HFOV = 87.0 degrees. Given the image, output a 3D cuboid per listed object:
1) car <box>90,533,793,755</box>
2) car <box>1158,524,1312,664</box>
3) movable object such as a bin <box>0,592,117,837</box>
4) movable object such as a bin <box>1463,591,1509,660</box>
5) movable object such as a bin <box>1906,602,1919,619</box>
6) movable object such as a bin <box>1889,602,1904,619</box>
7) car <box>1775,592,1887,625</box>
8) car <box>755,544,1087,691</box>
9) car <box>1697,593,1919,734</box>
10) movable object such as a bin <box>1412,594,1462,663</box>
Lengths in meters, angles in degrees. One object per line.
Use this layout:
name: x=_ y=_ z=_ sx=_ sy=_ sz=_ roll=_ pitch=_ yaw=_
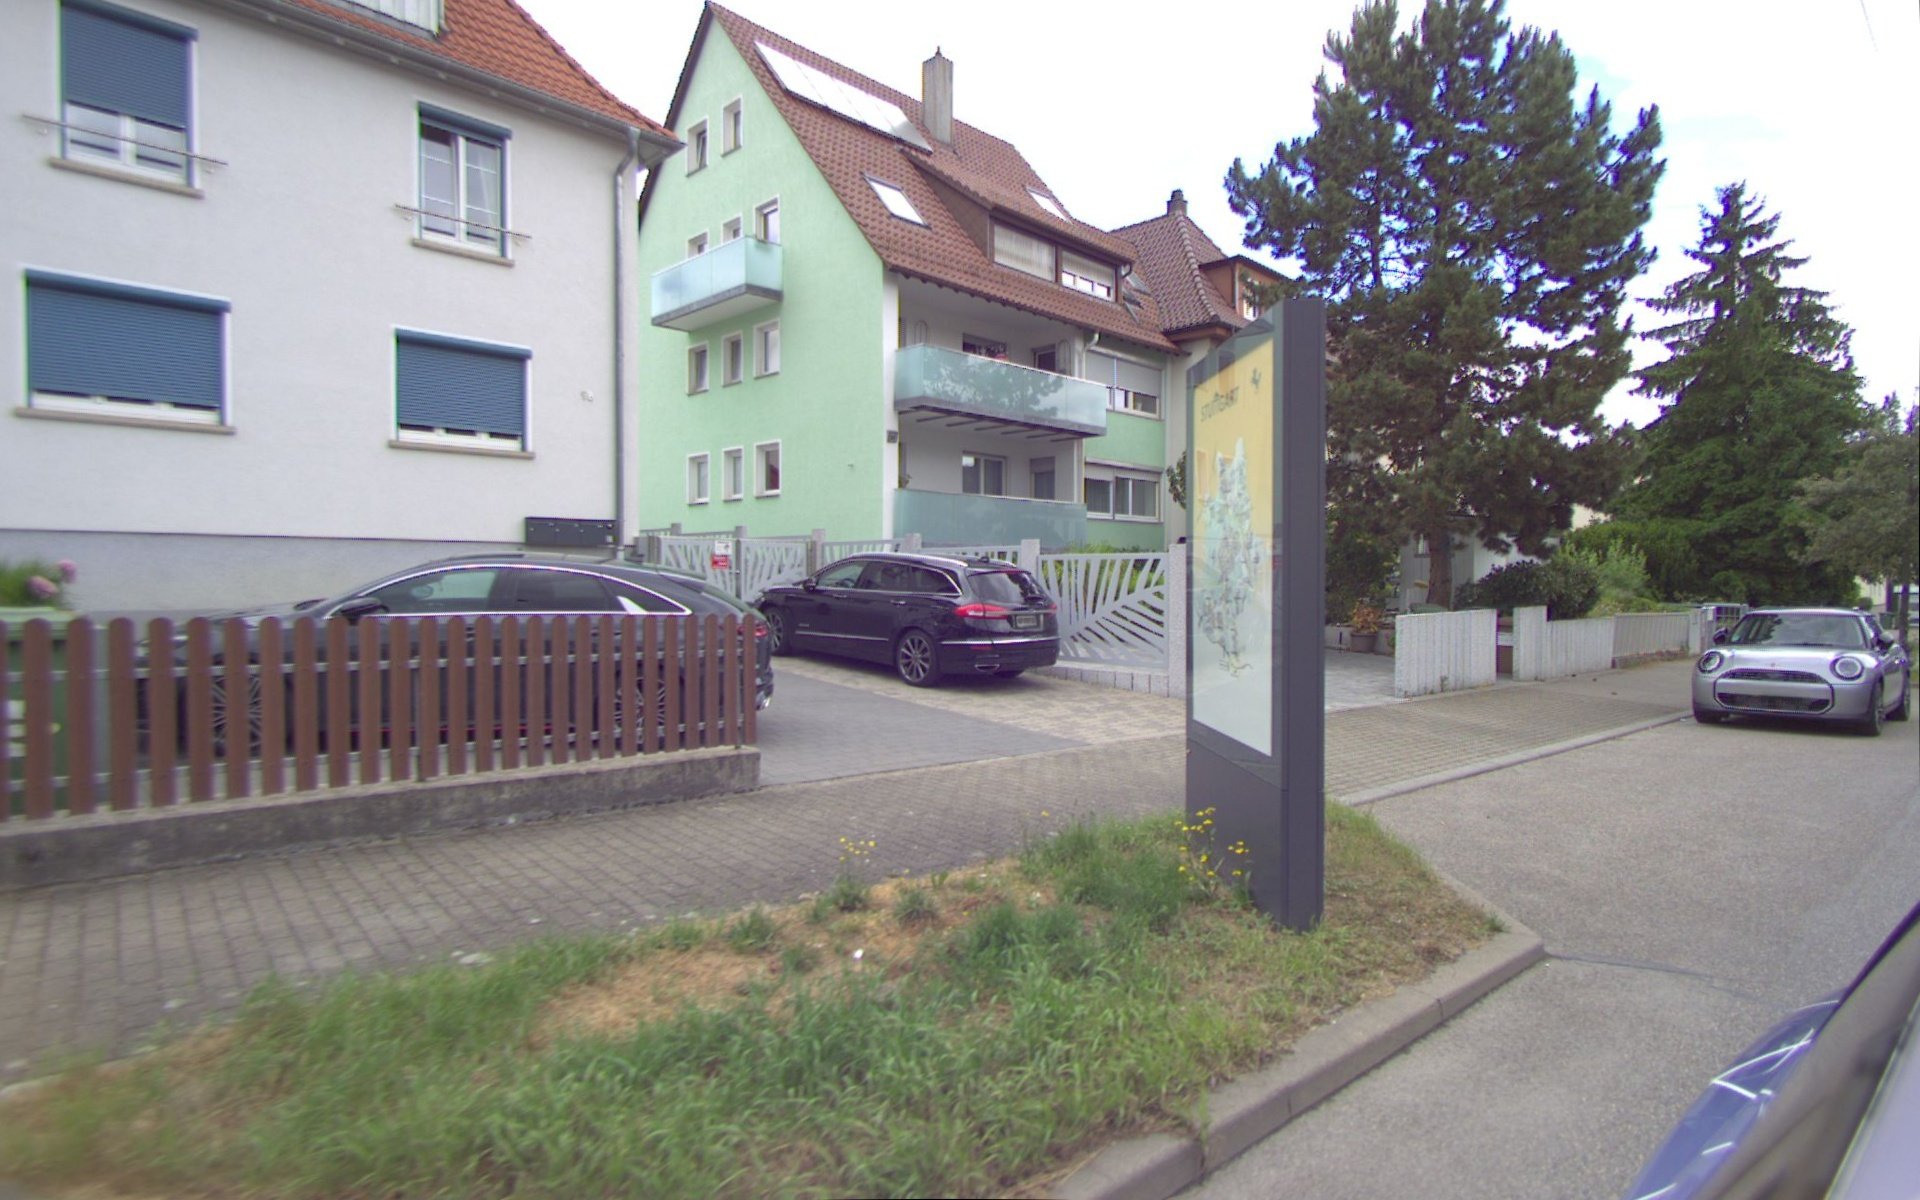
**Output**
car: x=-3.659 y=0.271 z=7.906 sx=4.385 sy=1.398 sz=1.829 roll=1 pitch=2 yaw=-18
car: x=4.997 y=-0.238 z=17.886 sx=1.957 sy=2.037 sz=4.691 roll=4 pitch=4 yaw=22
movable object such as a bin: x=-4.642 y=0.528 z=5.025 sx=0.679 sy=1.117 sz=0.777 roll=0 pitch=1 yaw=-42
movable object such as a bin: x=8.912 y=0.415 z=17.148 sx=0.589 sy=1.069 sz=0.609 roll=6 pitch=6 yaw=28
movable object such as a bin: x=58.152 y=0.633 z=61.730 sx=0.635 sy=1.059 sz=0.577 roll=-1 pitch=0 yaw=40
movable object such as a bin: x=57.591 y=0.638 z=62.210 sx=0.635 sy=1.059 sz=0.577 roll=1 pitch=1 yaw=40
car: x=47.561 y=0.426 z=55.338 sx=1.833 sy=1.506 sz=4.427 roll=-2 pitch=4 yaw=-42
car: x=-0.630 y=0.097 z=12.883 sx=4.259 sy=1.524 sz=1.670 roll=4 pitch=3 yaw=42
car: x=10.738 y=0.657 z=12.620 sx=3.931 sy=1.399 sz=1.653 roll=-2 pitch=1 yaw=-41
movable object such as a bin: x=8.085 y=0.475 z=17.179 sx=0.586 sy=1.069 sz=0.612 roll=4 pitch=5 yaw=15
